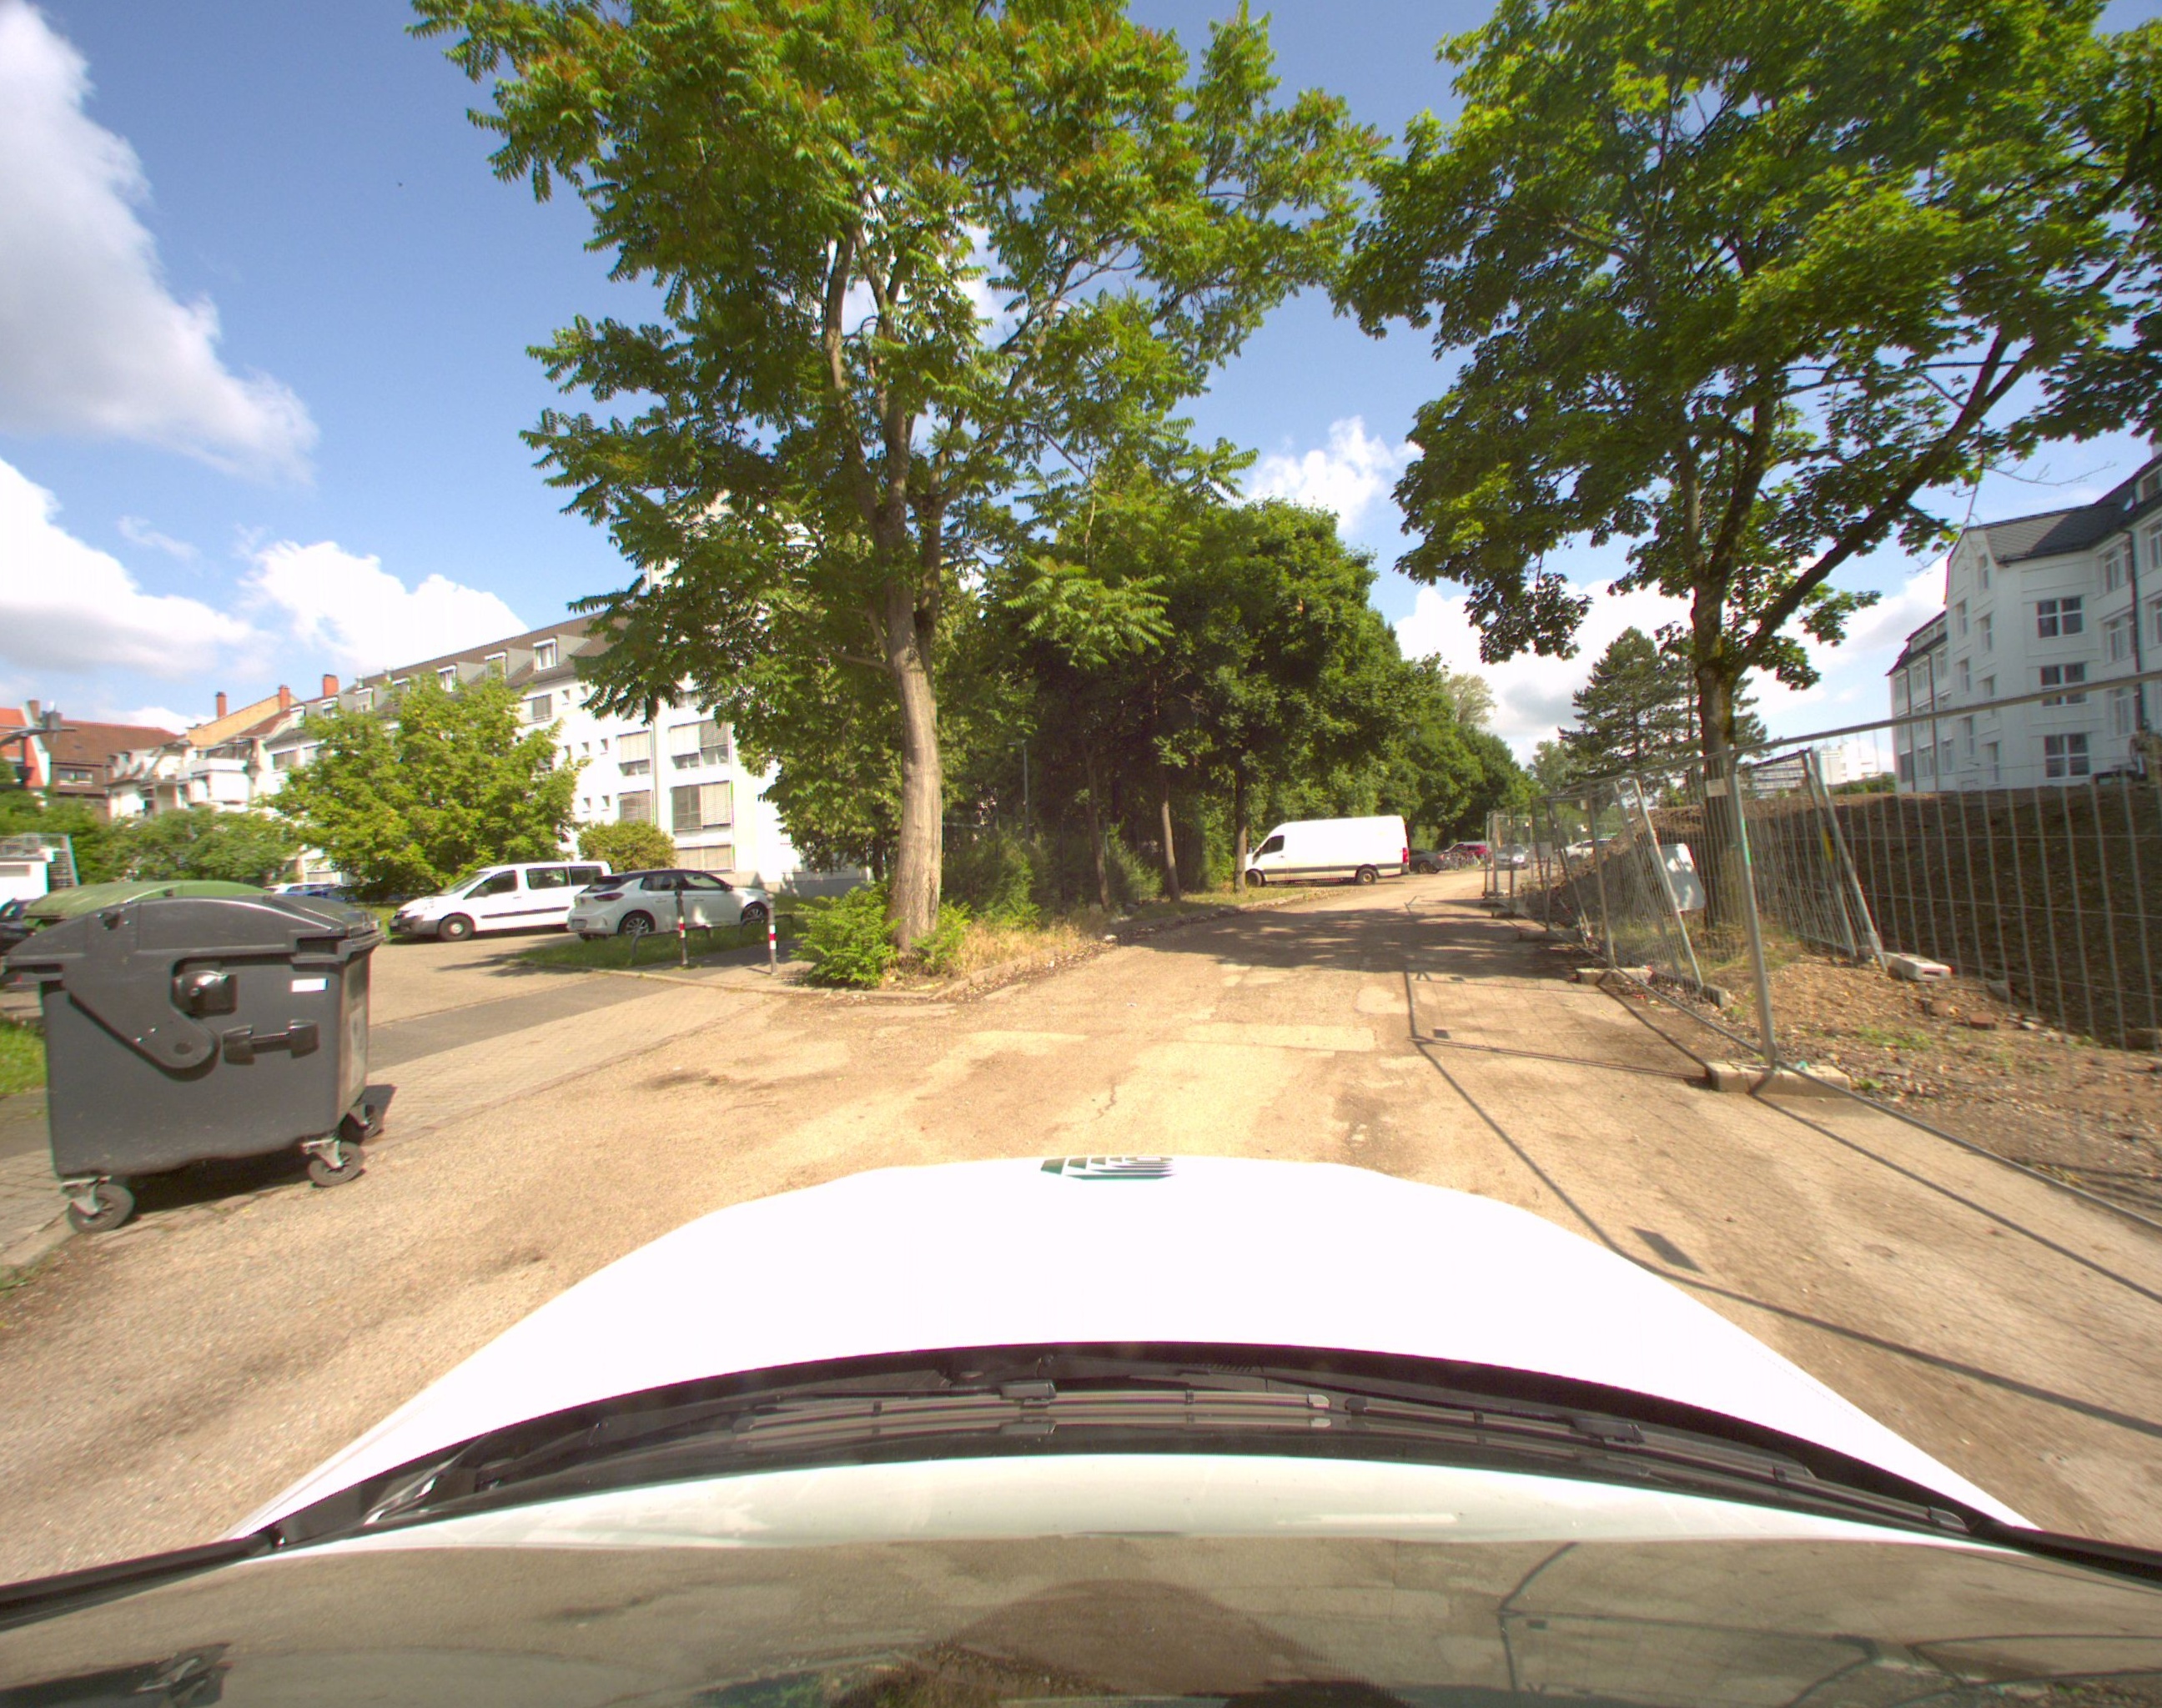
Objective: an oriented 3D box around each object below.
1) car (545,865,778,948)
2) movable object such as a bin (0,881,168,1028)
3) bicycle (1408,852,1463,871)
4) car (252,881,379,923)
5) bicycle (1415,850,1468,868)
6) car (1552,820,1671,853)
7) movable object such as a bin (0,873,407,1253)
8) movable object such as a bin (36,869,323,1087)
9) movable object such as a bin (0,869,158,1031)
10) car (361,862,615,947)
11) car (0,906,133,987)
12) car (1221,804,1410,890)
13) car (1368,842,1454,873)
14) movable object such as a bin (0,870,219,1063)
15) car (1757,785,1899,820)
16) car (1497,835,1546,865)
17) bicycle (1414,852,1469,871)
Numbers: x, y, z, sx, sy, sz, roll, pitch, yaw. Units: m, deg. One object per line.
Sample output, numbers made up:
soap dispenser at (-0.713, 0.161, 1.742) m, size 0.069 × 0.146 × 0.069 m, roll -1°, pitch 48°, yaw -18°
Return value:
car at (-8.516, 0.978, 16.859) m, size 1.736 × 1.420 × 3.941 m, roll 1°, pitch 1°, yaw 33°
movable object such as a bin at (-10.626, 0.993, 8.581) m, size 1.364 × 1.349 × 0.952 m, roll 2°, pitch -2°, yaw 27°
bicycle at (20.959, 0.450, 48.189) m, size 2.849 × 0.991 × 1.024 m, roll 2°, pitch -2°, yaw 32°
car at (-36.775, 2.254, 39.228) m, size 1.925 × 1.745 × 4.024 m, roll 3°, pitch 1°, yaw 28°
bicycle at (22.152, 0.312, 50.103) m, size 2.849 × 0.991 × 1.024 m, roll 2°, pitch -2°, yaw 32°
car at (26.057, -0.859, 40.093) m, size 4.806 × 1.428 × 1.856 m, roll 2°, pitch -2°, yaw 35°
movable object such as a bin at (-4.253, 0.851, 4.092) m, size 1.255 × 1.482 × 1.281 m, roll -1°, pitch -1°, yaw -37°
movable object such as a bin at (-7.086, 0.883, 6.436) m, size 1.326 × 1.452 × 1.109 m, roll 2°, pitch -2°, yaw 26°
movable object such as a bin at (-9.604, 0.841, 7.607) m, size 1.219 × 1.349 × 0.952 m, roll 2°, pitch -2°, yaw 27°
car at (-15.322, 1.199, 21.358) m, size 1.974 × 1.965 × 4.986 m, roll -1°, pitch -1°, yaw 35°
car at (-22.705, 1.937, 17.861) m, size 4.284 × 1.442 × 1.897 m, roll -1°, pitch -2°, yaw 33°
car at (9.312, -0.326, 32.628) m, size 6.898 × 3.047 × 2.009 m, roll 3°, pitch 0°, yaw 17°
car at (17.494, 0.195, 43.216) m, size 3.949 × 1.428 × 1.856 m, roll 2°, pitch -2°, yaw 30°
movable object such as a bin at (-8.370, 0.902, 7.032) m, size 1.219 × 1.452 × 0.885 m, roll 2°, pitch -2°, yaw 27°
car at (35.538, -2.423, 38.946) m, size 4.806 × 1.428 × 1.856 m, roll 2°, pitch -2°, yaw 35°
car at (24.309, -0.194, 44.872) m, size 1.821 × 1.428 × 4.024 m, roll 2°, pitch -2°, yaw 37°
bicycle at (21.704, 0.456, 49.043) m, size 2.849 × 0.991 × 1.024 m, roll 2°, pitch -2°, yaw 32°
